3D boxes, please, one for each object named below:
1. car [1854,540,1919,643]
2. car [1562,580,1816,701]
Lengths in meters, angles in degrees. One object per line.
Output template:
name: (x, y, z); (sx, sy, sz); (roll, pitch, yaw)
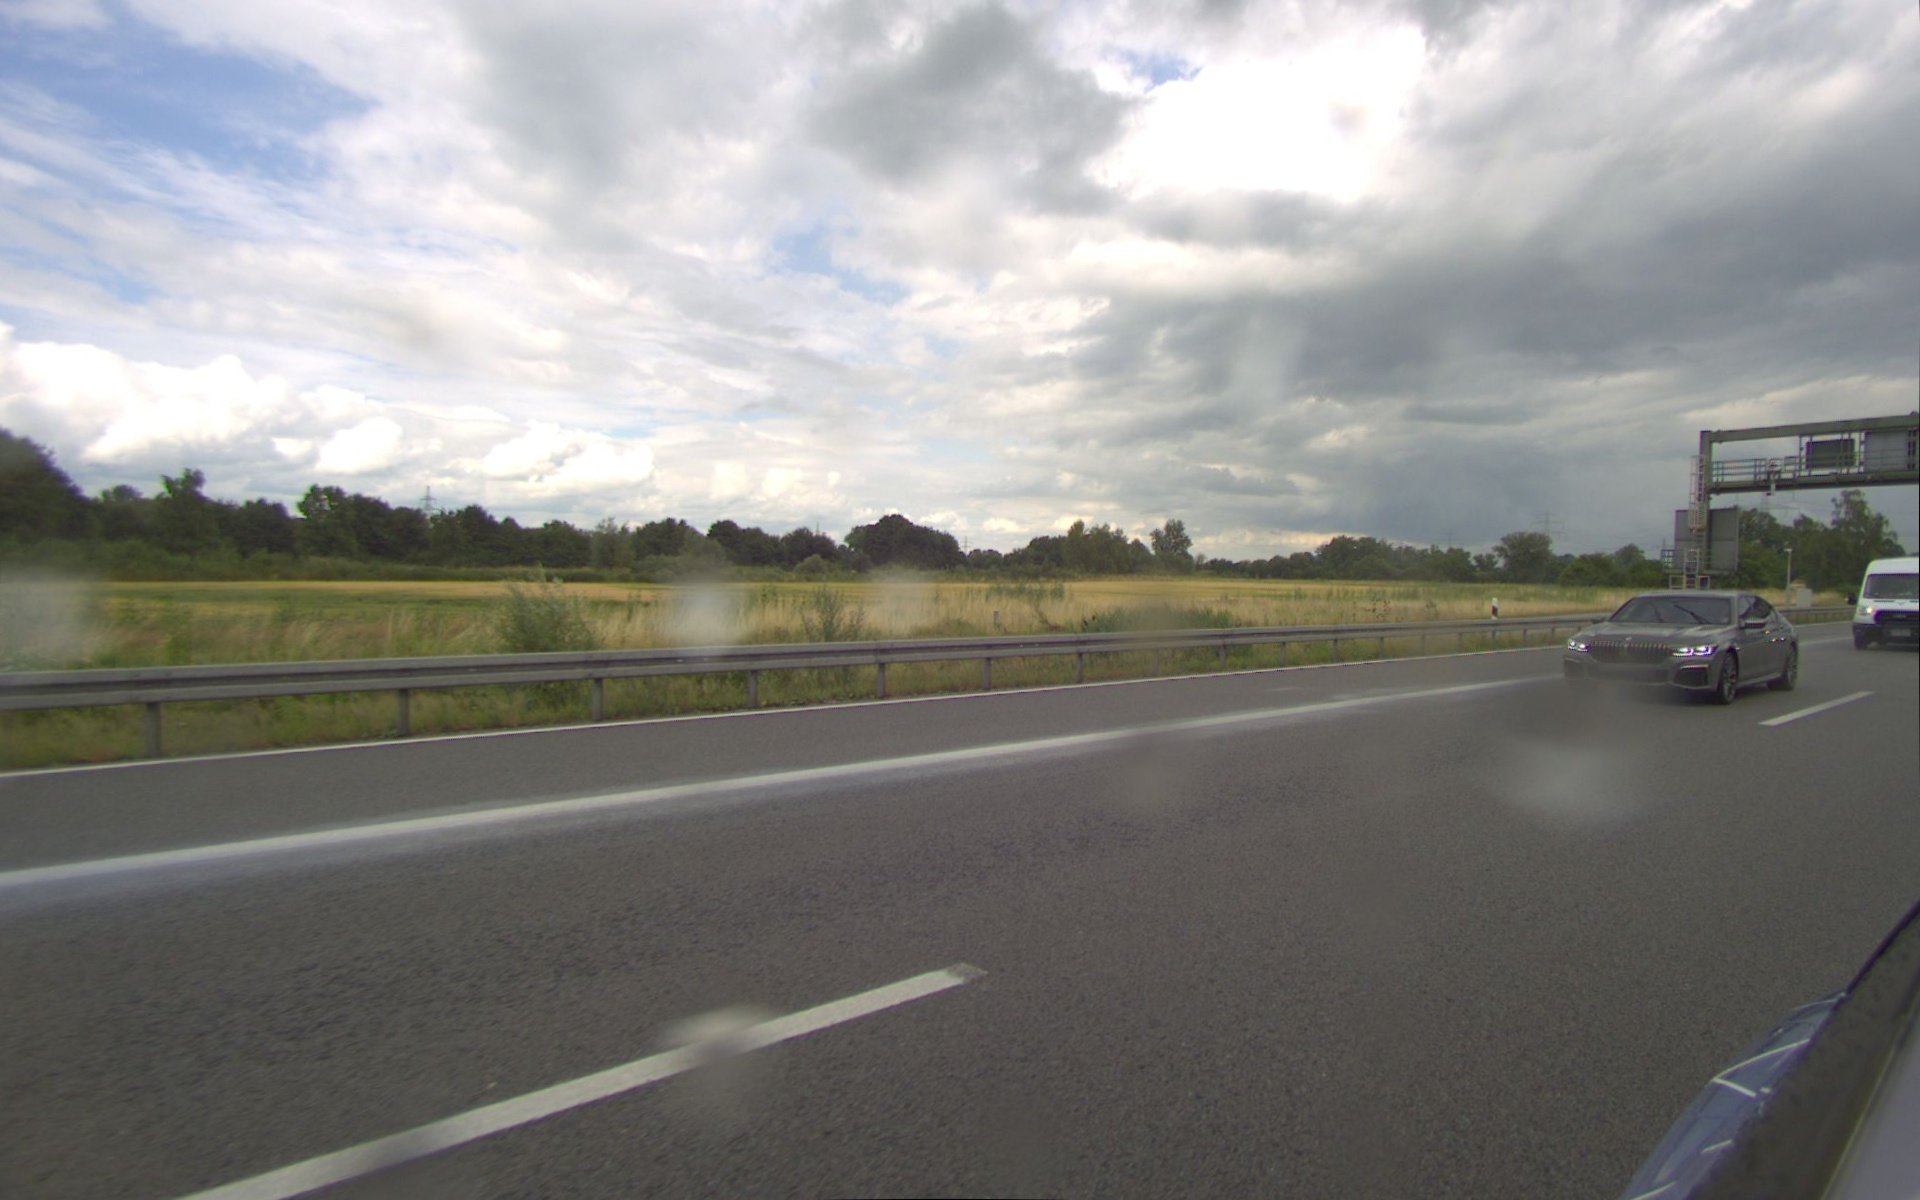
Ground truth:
car: (25.734, -0.242, 26.889); (5.350, 2.532, 2.144); (-1, 1, -39)
car: (10.788, 0.463, 14.847); (4.691, 1.510, 1.944); (-1, 1, -40)
